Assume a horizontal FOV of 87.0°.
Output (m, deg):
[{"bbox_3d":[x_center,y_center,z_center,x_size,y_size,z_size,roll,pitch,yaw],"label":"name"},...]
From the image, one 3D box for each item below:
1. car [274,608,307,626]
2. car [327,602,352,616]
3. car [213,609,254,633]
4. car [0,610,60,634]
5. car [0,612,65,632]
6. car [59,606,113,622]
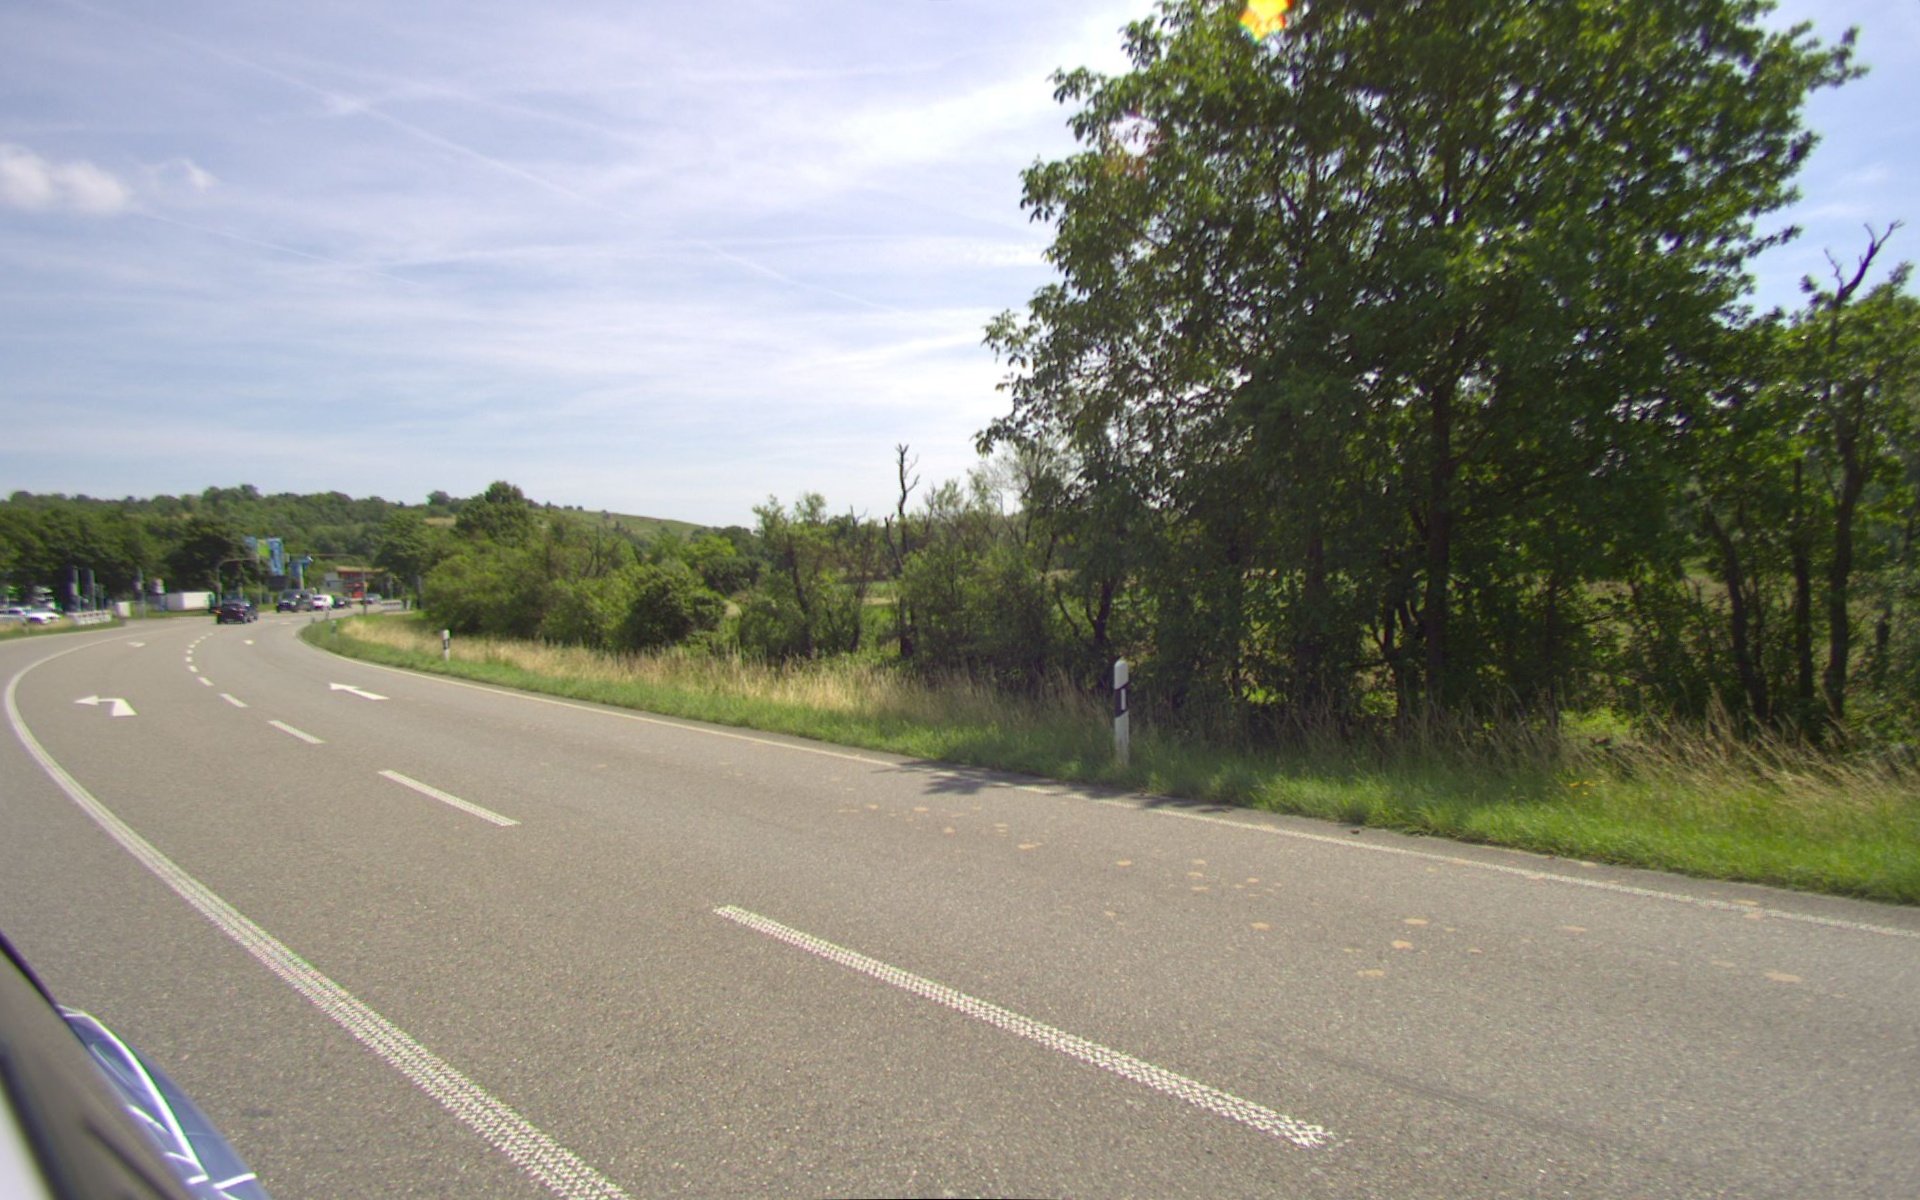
[{"bbox_3d":[-74.046,1.834,112.059,1.780,1.745,4.012,-2,3,-14],"label":"car"},{"bbox_3d":[-79.027,1.125,128.921,1.779,1.746,4.013,-2,1,-19],"label":"car"},{"bbox_3d":[-55.360,1.543,77.162,1.746,1.671,4.013,-1,1,-25],"label":"car"},{"bbox_3d":[-75.854,1.823,81.448,4.562,1.619,2.005,-3,4,-19],"label":"car"},{"bbox_3d":[-78.135,1.831,85.048,3.905,1.429,1.834,-2,2,-18],"label":"car"},{"bbox_3d":[-104.129,1.605,120.634,1.977,1.633,4.619,0,2,8],"label":"car"}]
